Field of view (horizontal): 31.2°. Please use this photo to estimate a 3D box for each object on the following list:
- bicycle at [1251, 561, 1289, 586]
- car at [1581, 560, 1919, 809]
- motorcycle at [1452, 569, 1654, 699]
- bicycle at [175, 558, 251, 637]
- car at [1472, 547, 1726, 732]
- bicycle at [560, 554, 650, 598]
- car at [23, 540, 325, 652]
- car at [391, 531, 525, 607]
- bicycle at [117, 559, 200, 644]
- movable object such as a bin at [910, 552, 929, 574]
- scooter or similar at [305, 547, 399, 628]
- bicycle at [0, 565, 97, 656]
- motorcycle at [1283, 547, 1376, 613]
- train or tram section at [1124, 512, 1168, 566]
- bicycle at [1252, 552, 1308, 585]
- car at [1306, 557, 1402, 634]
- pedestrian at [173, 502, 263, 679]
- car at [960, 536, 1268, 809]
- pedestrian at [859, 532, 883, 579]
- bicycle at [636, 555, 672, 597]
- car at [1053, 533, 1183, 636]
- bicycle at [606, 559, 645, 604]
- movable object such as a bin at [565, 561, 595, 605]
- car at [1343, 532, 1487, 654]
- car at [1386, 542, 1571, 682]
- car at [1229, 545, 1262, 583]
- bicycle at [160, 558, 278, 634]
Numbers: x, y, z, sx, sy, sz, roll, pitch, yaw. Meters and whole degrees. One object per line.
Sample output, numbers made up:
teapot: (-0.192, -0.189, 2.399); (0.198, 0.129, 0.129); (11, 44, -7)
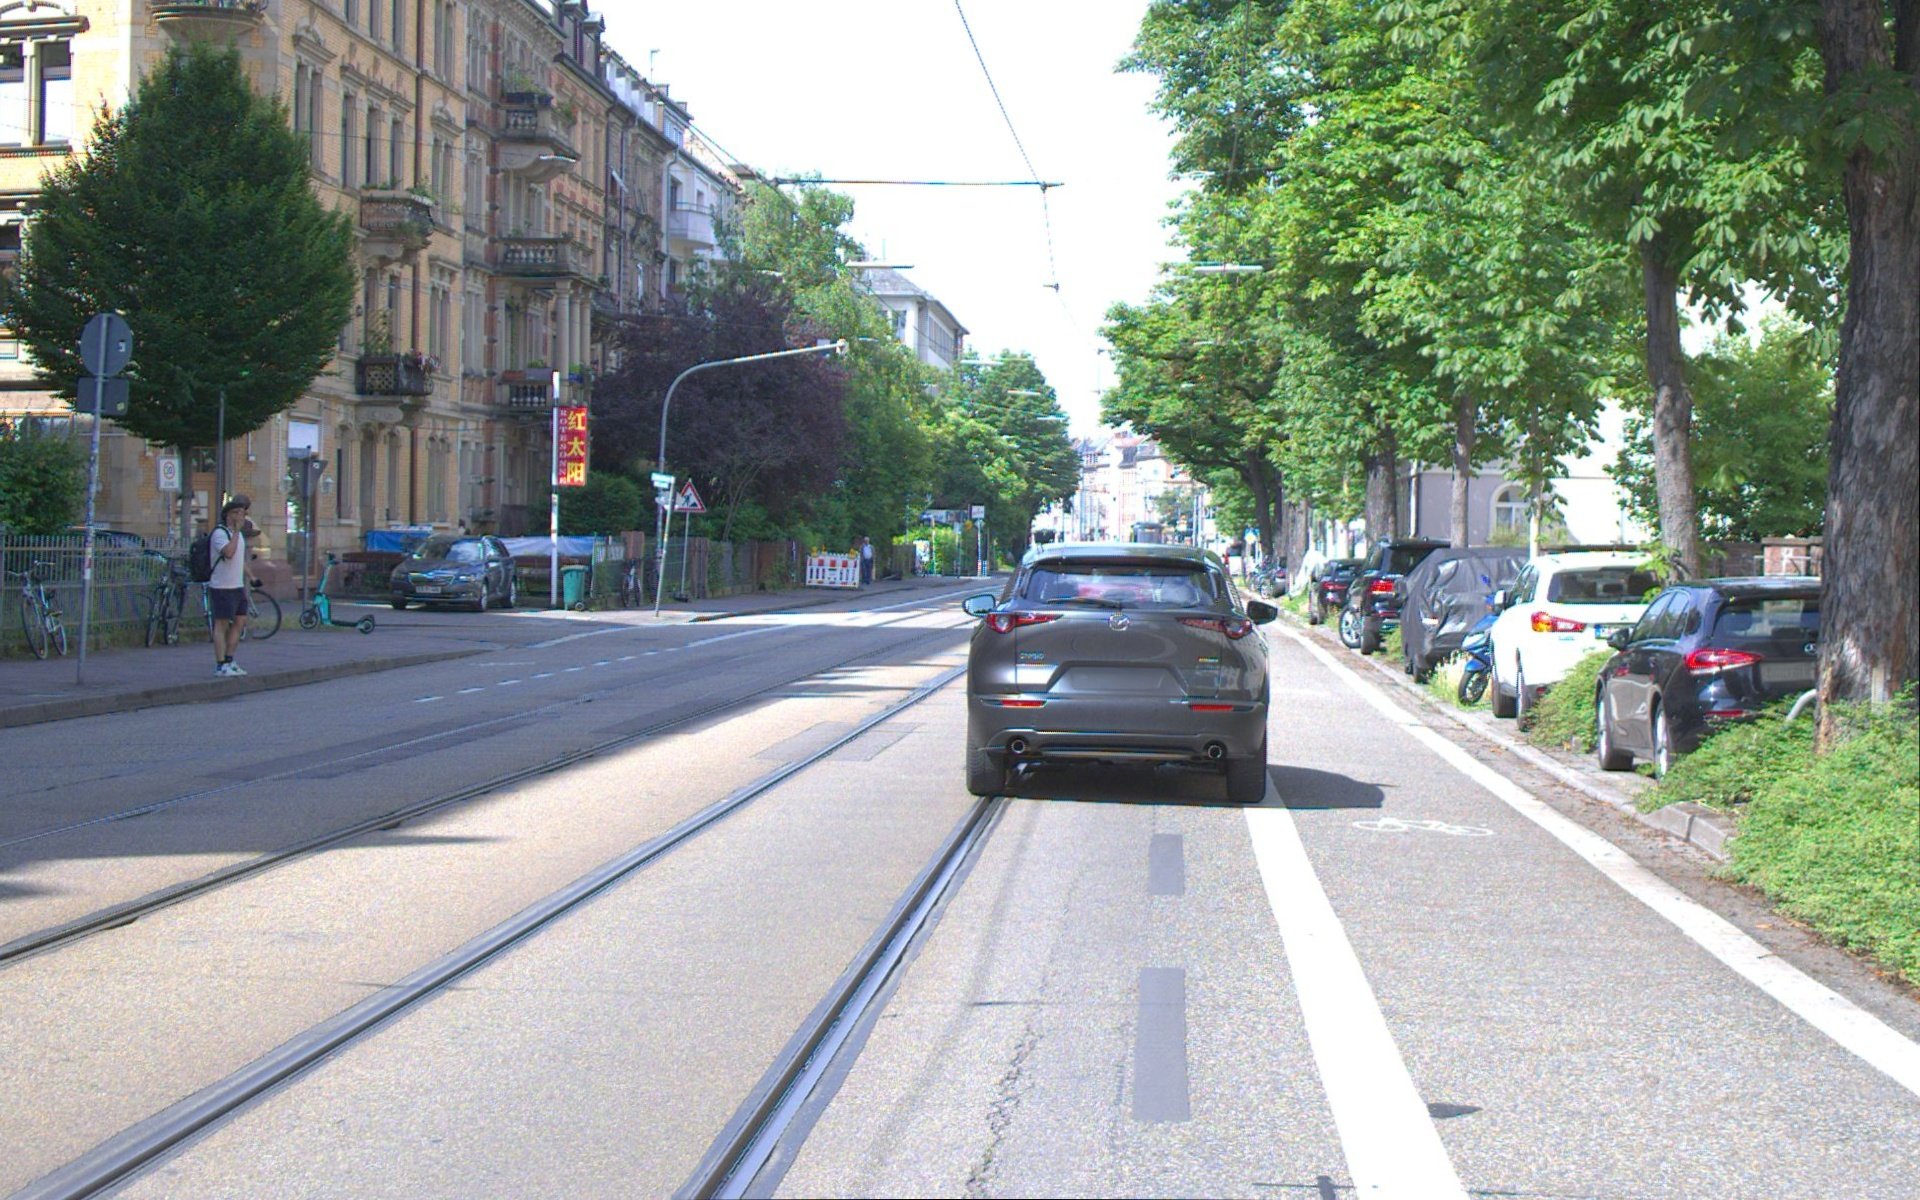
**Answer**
bicycle: (12.453, -1.050, 137.979); (1.491, 0.980, 0.259); (0, 0, 6)
car: (5.444, 0.511, 23.822); (1.660, 1.516, 4.287); (1, 1, 3)
motorcycle: (6.339, 0.359, 36.788); (2.006, 1.332, 0.747); (1, 1, 0)
bicycle: (-9.419, -0.043, 43.400); (0.421, 0.973, 1.949); (1, 1, 3)
car: (5.909, 0.314, 32.216); (1.742, 1.575, 4.248); (1, 1, 3)
bicycle: (-8.002, -0.539, 77.574); (1.961, 0.943, 0.532); (1, 1, -1)
car: (-10.734, -0.070, 47.042); (3.604, 1.398, 1.786); (2, 1, 8)
car: (-10.020, -0.630, 68.906); (1.685, 1.454, 4.764); (1, 1, 4)
bicycle: (-9.531, 0.004, 40.916); (0.421, 0.973, 1.949); (1, 1, 3)
movable object such as a bin: (-1.870, -1.715, 159.741); (0.745, 0.984, 1.114); (3, 1, 4)
scooter or similar: (-9.527, -0.192, 53.901); (1.361, 1.230, 0.404); (2, 1, -25)
bicycle: (-9.736, 0.096, 36.751); (0.421, 0.929, 1.949); (1, 1, 3)
motorcycle: (9.479, -0.522, 88.302); (2.385, 1.592, 0.677); (4, 2, 42)
train or tram section: (13.461, -4.433, 249.303); (2.571, 3.760, 13.026); (1, 1, 1)
bicycle: (11.528, -1.143, 123.833); (1.938, 1.172, 0.513); (0, 0, 16)
car: (8.310, -0.117, 72.771); (1.706, 1.474, 4.196); (3, 1, 3)
pedestrian: (-7.552, -0.102, 35.033); (0.533, 1.754, 1.105); (3, 1, 3)
car: (0.978, 0.387, 21.338); (1.721, 1.521, 3.589); (1, 1, 3)
pedestrian: (-3.313, -1.655, 127.937); (0.822, 1.700, 0.891); (1, 1, 1)
bicycle: (-7.011, -0.562, 78.889); (0.530, 0.943, 1.968); (1, 1, 3)
car: (2.640, -0.271, 56.875); (1.994, 1.523, 4.000); (3, 1, 3)
bicycle: (-7.288, -0.407, 75.036); (0.530, 0.943, 1.968); (1, 1, 3)
movable object such as a bin: (-7.855, -0.352, 71.041); (0.525, 0.902, 0.636); (1, 1, 2)
car: (6.956, -0.151, 52.921); (1.827, 1.776, 4.733); (1, 1, 3)
car: (6.507, 0.109, 43.561); (1.863, 1.647, 4.637); (1, 1, 3)
car: (15.487, -1.963, 186.682); (1.721, 1.962, 4.206); (1, 1, 4)
bicycle: (-9.700, -0.053, 45.017); (1.453, 0.973, 0.404); (1, 1, 4)
